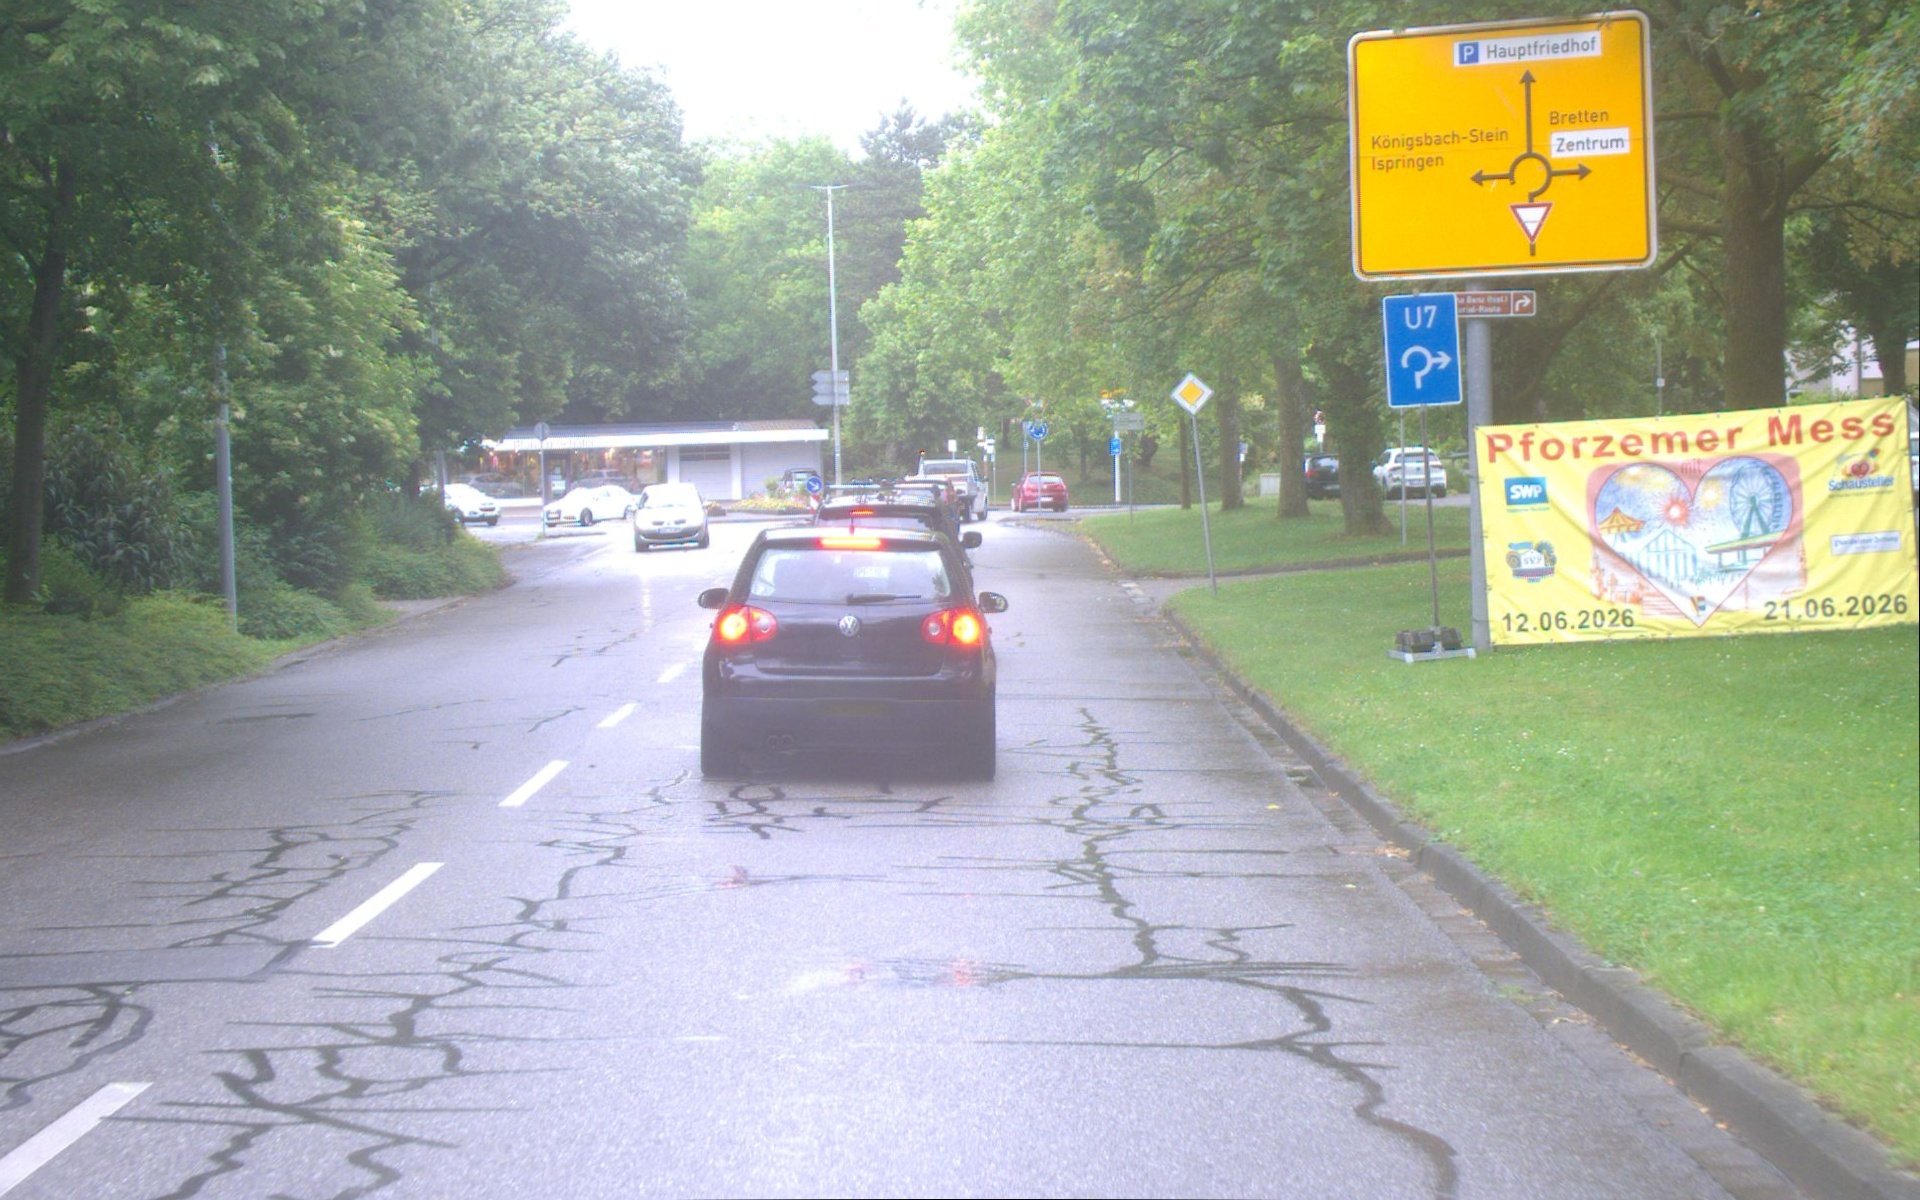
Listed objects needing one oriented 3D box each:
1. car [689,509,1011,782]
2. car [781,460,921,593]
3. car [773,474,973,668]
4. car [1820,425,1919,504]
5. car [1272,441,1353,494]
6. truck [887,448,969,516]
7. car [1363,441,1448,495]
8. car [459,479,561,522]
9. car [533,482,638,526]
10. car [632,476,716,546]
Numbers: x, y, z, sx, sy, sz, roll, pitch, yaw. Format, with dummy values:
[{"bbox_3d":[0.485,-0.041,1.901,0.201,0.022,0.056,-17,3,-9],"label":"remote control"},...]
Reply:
[{"bbox_3d":[-0.627,0.209,21.264,1.798,1.510,3.754,1,2,0],"label":"car"},{"bbox_3d":[-1.525,-1.075,49.376,1.855,1.778,4.000,-2,2,0],"label":"car"},{"bbox_3d":[-0.832,-0.349,34.669,1.855,1.778,4.001,-2,2,0],"label":"car"},{"bbox_3d":[18.206,-2.651,66.756,1.616,1.405,4.011,-3,3,-6],"label":"car"},{"bbox_3d":[10.111,-3.825,98.909,1.803,1.380,4.001,-3,3,0],"label":"car"},{"bbox_3d":[-0.956,-3.679,107.287,2.416,1.997,5.151,-2,2,0],"label":"truck"},{"bbox_3d":[12.825,-3.817,99.137,1.803,1.401,4.001,-3,3,0],"label":"car"},{"bbox_3d":[-17.682,-3.931,135.303,1.776,1.612,3.796,1,2,38],"label":"car"},{"bbox_3d":[-13.894,-3.566,127.830,1.611,1.422,4.001,0,4,35],"label":"car"},{"bbox_3d":[-7.044,-2.206,84.919,1.763,1.608,4.142,-3,2,-1],"label":"car"}]
